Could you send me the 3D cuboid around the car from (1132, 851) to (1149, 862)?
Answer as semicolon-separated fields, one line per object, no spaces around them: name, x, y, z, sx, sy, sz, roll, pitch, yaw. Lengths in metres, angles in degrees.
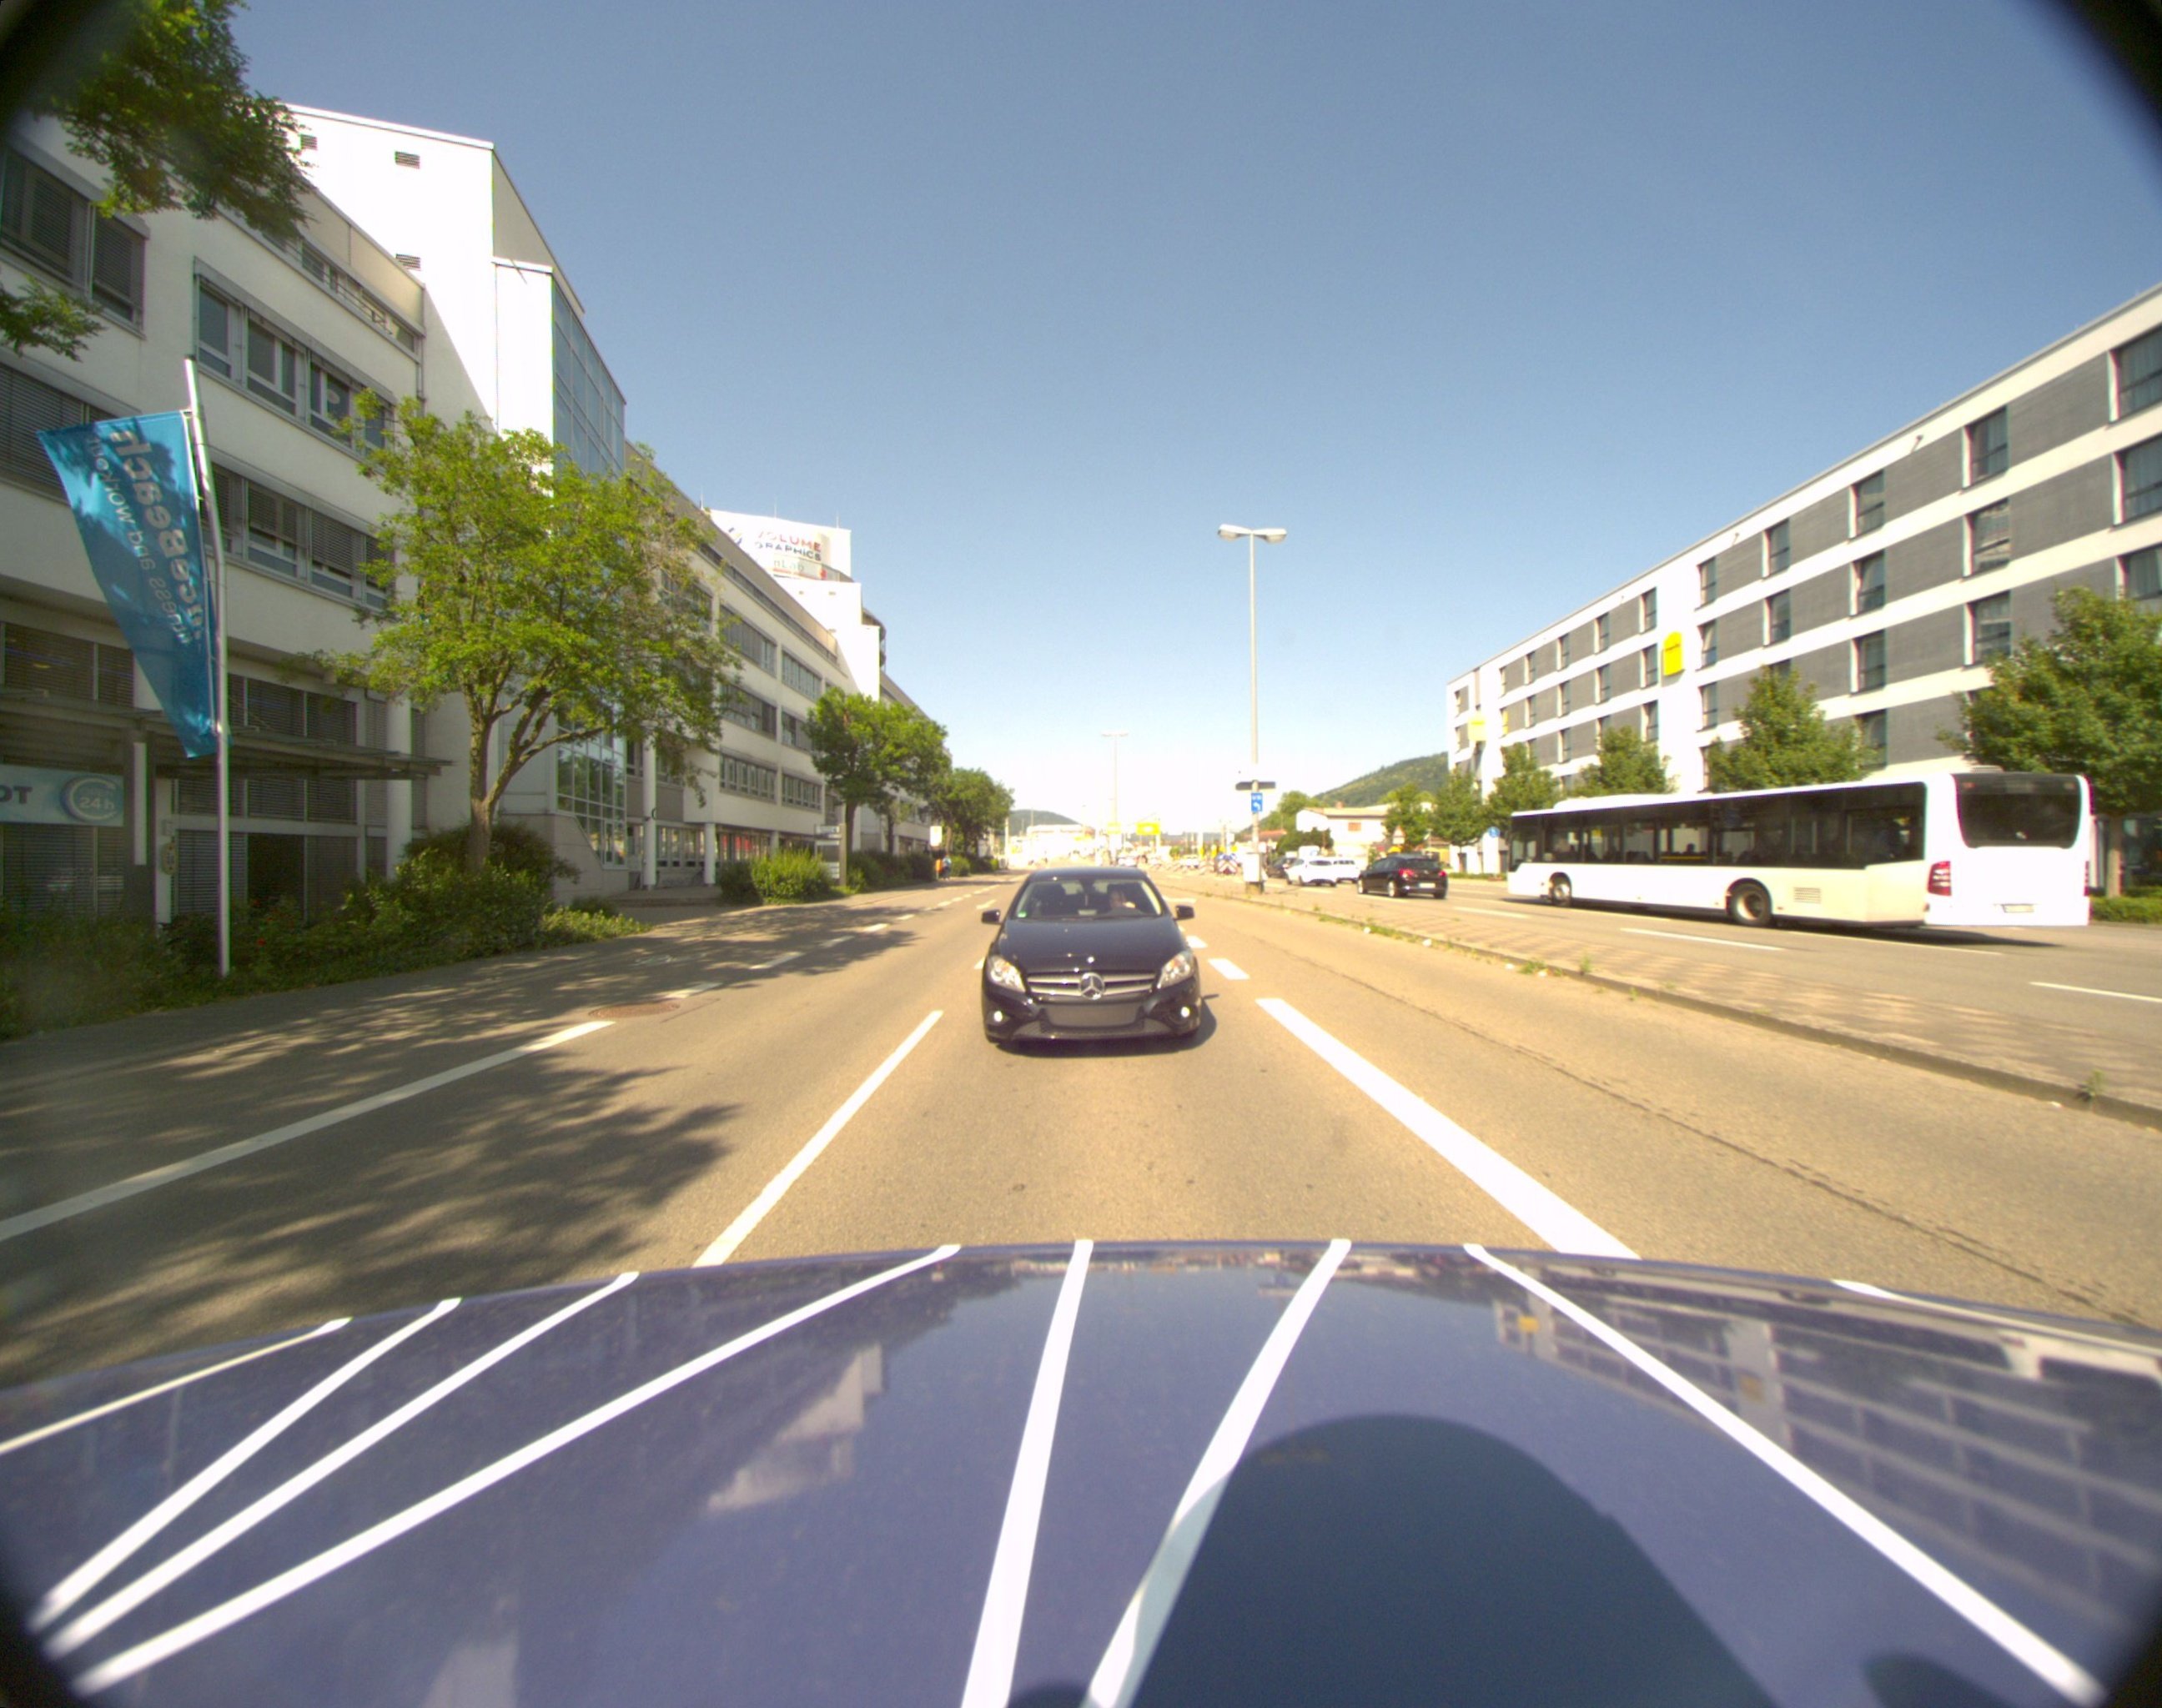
car;8.649;0.405;111.054;1.999;1.530;3.999;-1;0;-2

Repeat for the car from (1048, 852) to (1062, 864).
car;-4.522;0.678;131.886;1.998;2.002;4.000;-2;1;2

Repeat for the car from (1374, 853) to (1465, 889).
car;15.242;0.714;34.541;1.998;1.514;4.891;-1;0;1

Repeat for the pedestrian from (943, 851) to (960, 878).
pedestrian;-9.174;0.734;53.897;0.942;1.875;1.289;2;1;0

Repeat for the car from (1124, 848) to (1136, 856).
car;10.417;-0.398;162.529;1.999;1.725;3.999;-1;0;-3

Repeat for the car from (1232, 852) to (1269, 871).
car;14.074;0.579;63.386;1.998;1.514;4.891;-1;0;1

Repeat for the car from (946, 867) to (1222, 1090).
car;0.046;0.909;7.631;1.905;1.431;4.693;-1;0;1

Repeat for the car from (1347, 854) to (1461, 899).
car;11.377;0.720;27.175;1.998;1.424;4.890;-1;0;0

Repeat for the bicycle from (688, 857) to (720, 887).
bicycle;-17.719;0.816;35.726;0.506;1.346;1.884;-1;0;1

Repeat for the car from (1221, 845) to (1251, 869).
car;14.221;0.266;69.912;1.998;2.002;4.000;-2;1;3

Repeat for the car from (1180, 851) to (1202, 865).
car;13.755;0.461;95.266;1.998;1.702;4.891;-1;0;1

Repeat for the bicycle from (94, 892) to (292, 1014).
bicycle;-11.260;1.188;9.741;0.506;1.321;1.883;0;0;-8

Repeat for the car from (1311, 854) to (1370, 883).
car;14.476;0.769;42.646;1.858;1.530;3.977;0;0;-2

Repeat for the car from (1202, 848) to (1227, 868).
car;14.738;0.429;84.147;1.998;2.002;3.999;-2;1;1

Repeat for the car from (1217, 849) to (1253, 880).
car;10.809;0.687;53.732;1.679;2.002;4.164;-2;1;1

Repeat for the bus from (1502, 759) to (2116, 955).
bus;14.878;0.022;18.044;2.745;3.061;11.972;1;0;-2

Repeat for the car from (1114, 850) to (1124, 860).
car;8.060;0.253;162.412;1.998;2.002;3.999;-2;1;1

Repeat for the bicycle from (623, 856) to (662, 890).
bicycle;-18.060;0.768;31.329;0.506;1.346;1.884;-1;0;1

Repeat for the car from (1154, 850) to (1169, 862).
car;13.432;0.283;127.319;1.999;2.002;3.999;0;0;-1

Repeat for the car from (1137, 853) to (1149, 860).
car;11.652;0.400;142.859;1.816;1.328;3.937;-1;0;-3

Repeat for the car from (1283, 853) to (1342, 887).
car;11.288;0.741;37.318;1.763;1.443;4.000;-2;1;2
